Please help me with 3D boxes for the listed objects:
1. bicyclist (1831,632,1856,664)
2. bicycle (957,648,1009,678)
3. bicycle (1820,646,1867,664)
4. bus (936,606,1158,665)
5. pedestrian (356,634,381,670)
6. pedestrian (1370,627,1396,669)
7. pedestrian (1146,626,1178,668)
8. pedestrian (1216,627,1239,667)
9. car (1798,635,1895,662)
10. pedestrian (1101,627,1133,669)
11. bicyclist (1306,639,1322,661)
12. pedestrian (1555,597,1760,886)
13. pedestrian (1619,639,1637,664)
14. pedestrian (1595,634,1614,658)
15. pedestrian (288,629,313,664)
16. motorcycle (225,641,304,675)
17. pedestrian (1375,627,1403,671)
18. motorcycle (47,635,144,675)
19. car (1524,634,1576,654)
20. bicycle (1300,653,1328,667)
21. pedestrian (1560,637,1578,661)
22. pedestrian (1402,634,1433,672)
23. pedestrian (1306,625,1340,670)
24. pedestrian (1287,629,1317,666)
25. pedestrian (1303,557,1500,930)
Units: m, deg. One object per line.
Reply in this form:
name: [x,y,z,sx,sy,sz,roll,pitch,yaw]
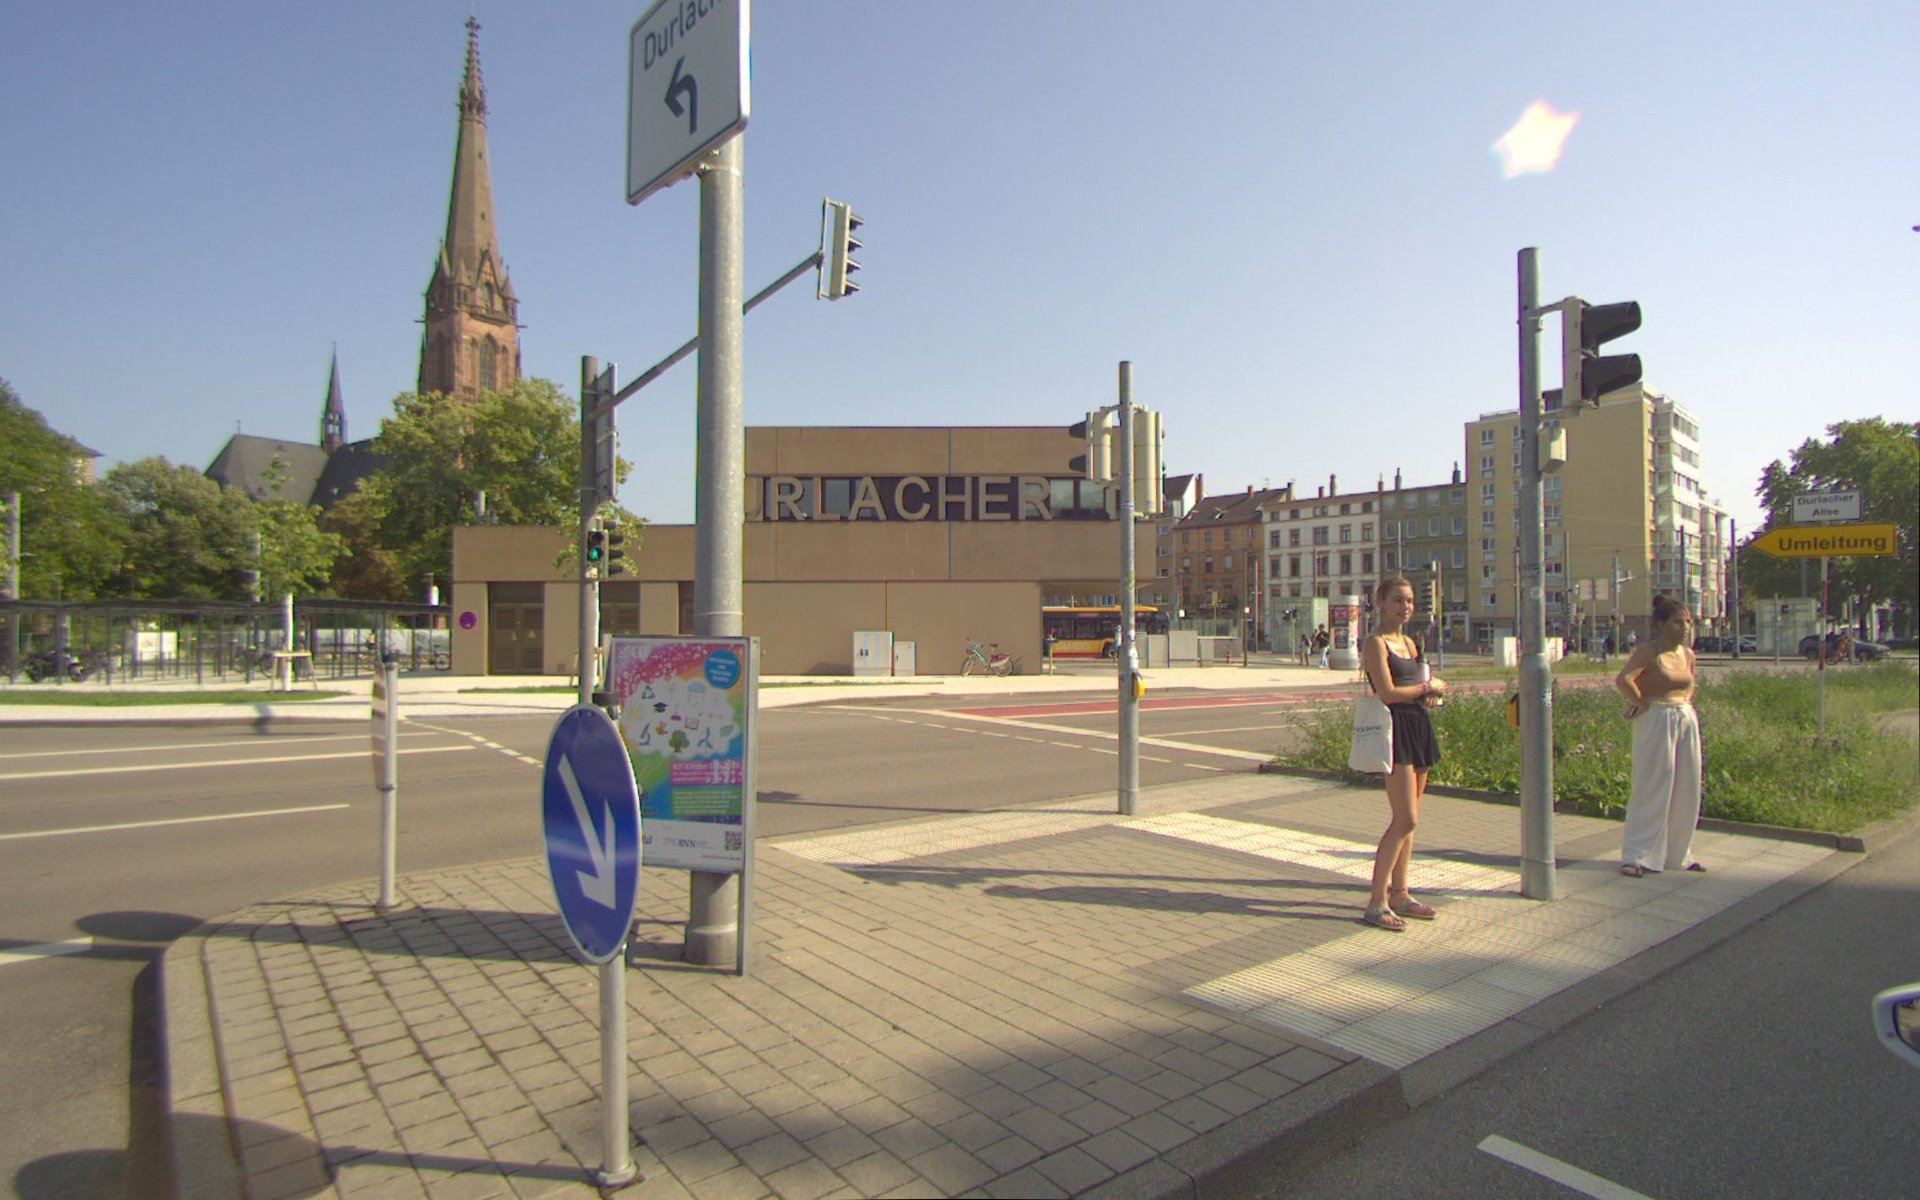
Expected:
bicyclist: [47.398,2.577,53.882,0.720,1.673,0.874,1,-2,-38]
bicycle: [0.681,1.884,29.927,1.516,0.849,0.593,0,1,1]
bicycle: [47.390,2.927,53.884,0.720,0.944,1.799,1,-2,-38]
bus: [4.715,1.958,55.725,11.972,3.149,2.717,0,-2,0]
pedestrian: [-23.888,2.105,40.579,0.577,1.427,0.691,0,-2,-4]
pedestrian: [18.378,2.093,43.680,0.694,1.824,0.773,1,-2,-35]
pedestrian: [8.399,1.945,41.754,0.859,1.727,0.978,2,-2,-40]
pedestrian: [12.332,2.154,46.289,0.694,1.824,0.773,1,-2,-35]
car: [56.413,3.069,63.967,1.685,1.638,4.411,2,-3,-40]
pedestrian: [6.426,1.943,41.057,0.859,1.694,0.978,2,-2,-40]
bicyclist: [25.253,3.583,71.625,0.720,1.547,0.788,1,-2,-38]
pedestrian: [4.269,0.831,6.198,0.764,1.676,0.669,0,-2,-2]
pedestrian: [46.976,3.604,70.627,0.916,1.712,0.913,2,-2,-44]
pedestrian: [46.084,3.258,71.811,0.916,1.712,0.913,2,-2,-44]
pedestrian: [-27.422,1.920,41.791,0.577,1.427,0.691,0,-2,-4]
motorcycle: [-26.086,2.166,37.703,2.332,1.221,0.758,0,-2,-9]
pedestrian: [18.183,2.081,42.581,0.769,1.824,0.795,1,-2,-23]
motorcycle: [-32.260,2.045,37.529,2.718,1.468,0.789,0,-2,-8]
car: [51.991,3.842,88.615,1.960,1.700,4.552,0,-2,2]
bicycle: [25.226,4.269,71.644,0.720,0.944,1.799,1,-2,-38]
pedestrian: [44.244,3.575,72.961,0.916,1.712,0.913,2,-2,-44]
pedestrian: [19.326,2.217,42.455,0.970,1.579,0.866,0,-2,7]
pedestrian: [14.855,1.937,41.100,0.852,1.793,0.986,1,-2,-18]
pedestrian: [14.776,2.050,43.415,0.851,1.583,0.987,1,-2,-14]
pedestrian: [2.251,0.679,5.138,0.686,1.721,0.661,1,-2,-39]
